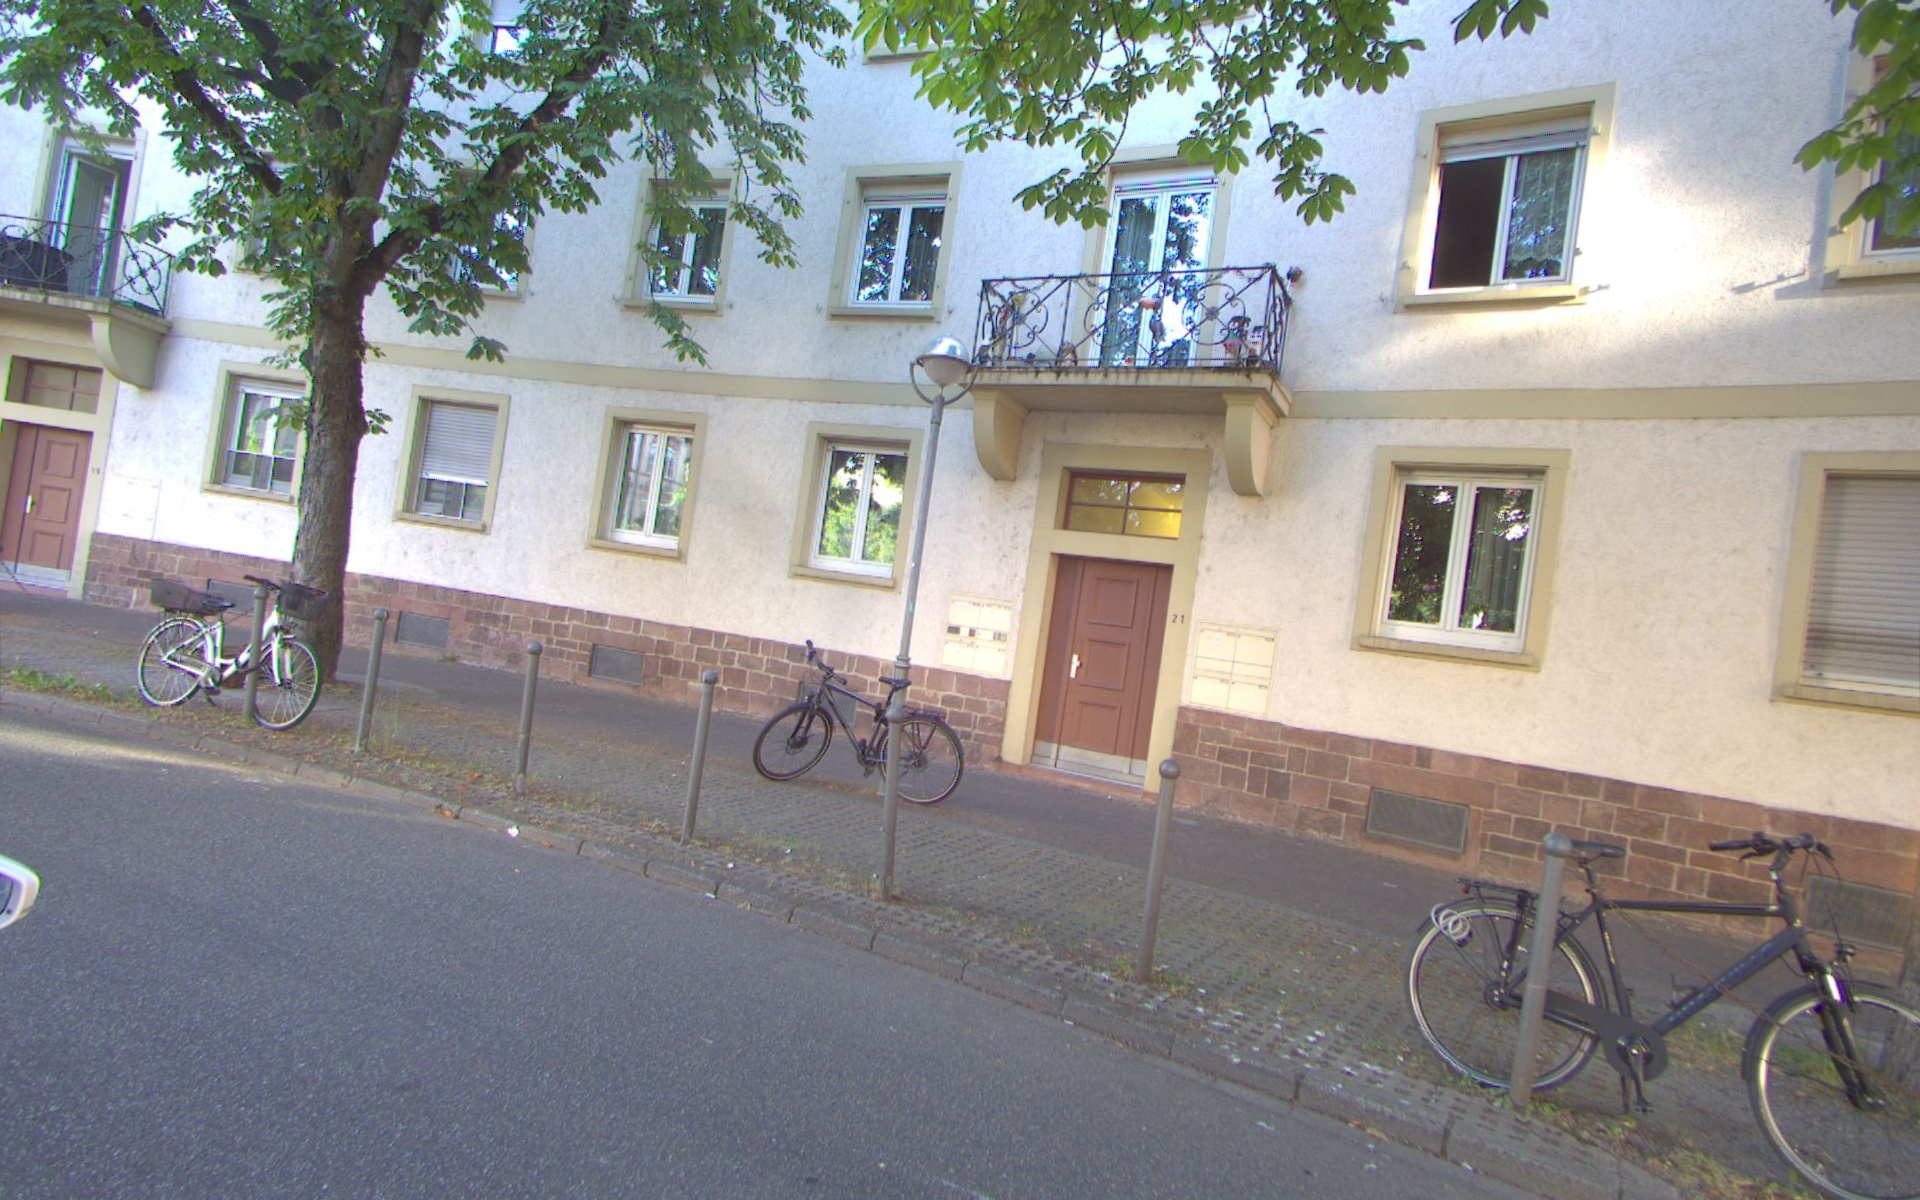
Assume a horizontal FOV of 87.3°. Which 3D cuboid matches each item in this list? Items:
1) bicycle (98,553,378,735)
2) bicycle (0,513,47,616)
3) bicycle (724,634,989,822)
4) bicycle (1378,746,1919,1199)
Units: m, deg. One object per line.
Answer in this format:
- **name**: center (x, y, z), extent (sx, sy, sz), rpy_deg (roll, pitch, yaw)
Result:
- **bicycle**: center (-5.637, 0.327, 7.858), extent (1.936, 1.109, 0.514), rpy_deg (8, 1, 12)
- **bicycle**: center (-11.696, -0.527, 11.567), extent (1.929, 1.120, 0.670), rpy_deg (8, -2, 13)
- **bicycle**: center (-0.786, 0.978, 7.996), extent (1.823, 1.131, 0.804), rpy_deg (8, -1, 8)
- **bicycle**: center (2.636, 1.322, 3.637), extent (1.881, 1.237, 0.719), rpy_deg (7, -1, 29)
